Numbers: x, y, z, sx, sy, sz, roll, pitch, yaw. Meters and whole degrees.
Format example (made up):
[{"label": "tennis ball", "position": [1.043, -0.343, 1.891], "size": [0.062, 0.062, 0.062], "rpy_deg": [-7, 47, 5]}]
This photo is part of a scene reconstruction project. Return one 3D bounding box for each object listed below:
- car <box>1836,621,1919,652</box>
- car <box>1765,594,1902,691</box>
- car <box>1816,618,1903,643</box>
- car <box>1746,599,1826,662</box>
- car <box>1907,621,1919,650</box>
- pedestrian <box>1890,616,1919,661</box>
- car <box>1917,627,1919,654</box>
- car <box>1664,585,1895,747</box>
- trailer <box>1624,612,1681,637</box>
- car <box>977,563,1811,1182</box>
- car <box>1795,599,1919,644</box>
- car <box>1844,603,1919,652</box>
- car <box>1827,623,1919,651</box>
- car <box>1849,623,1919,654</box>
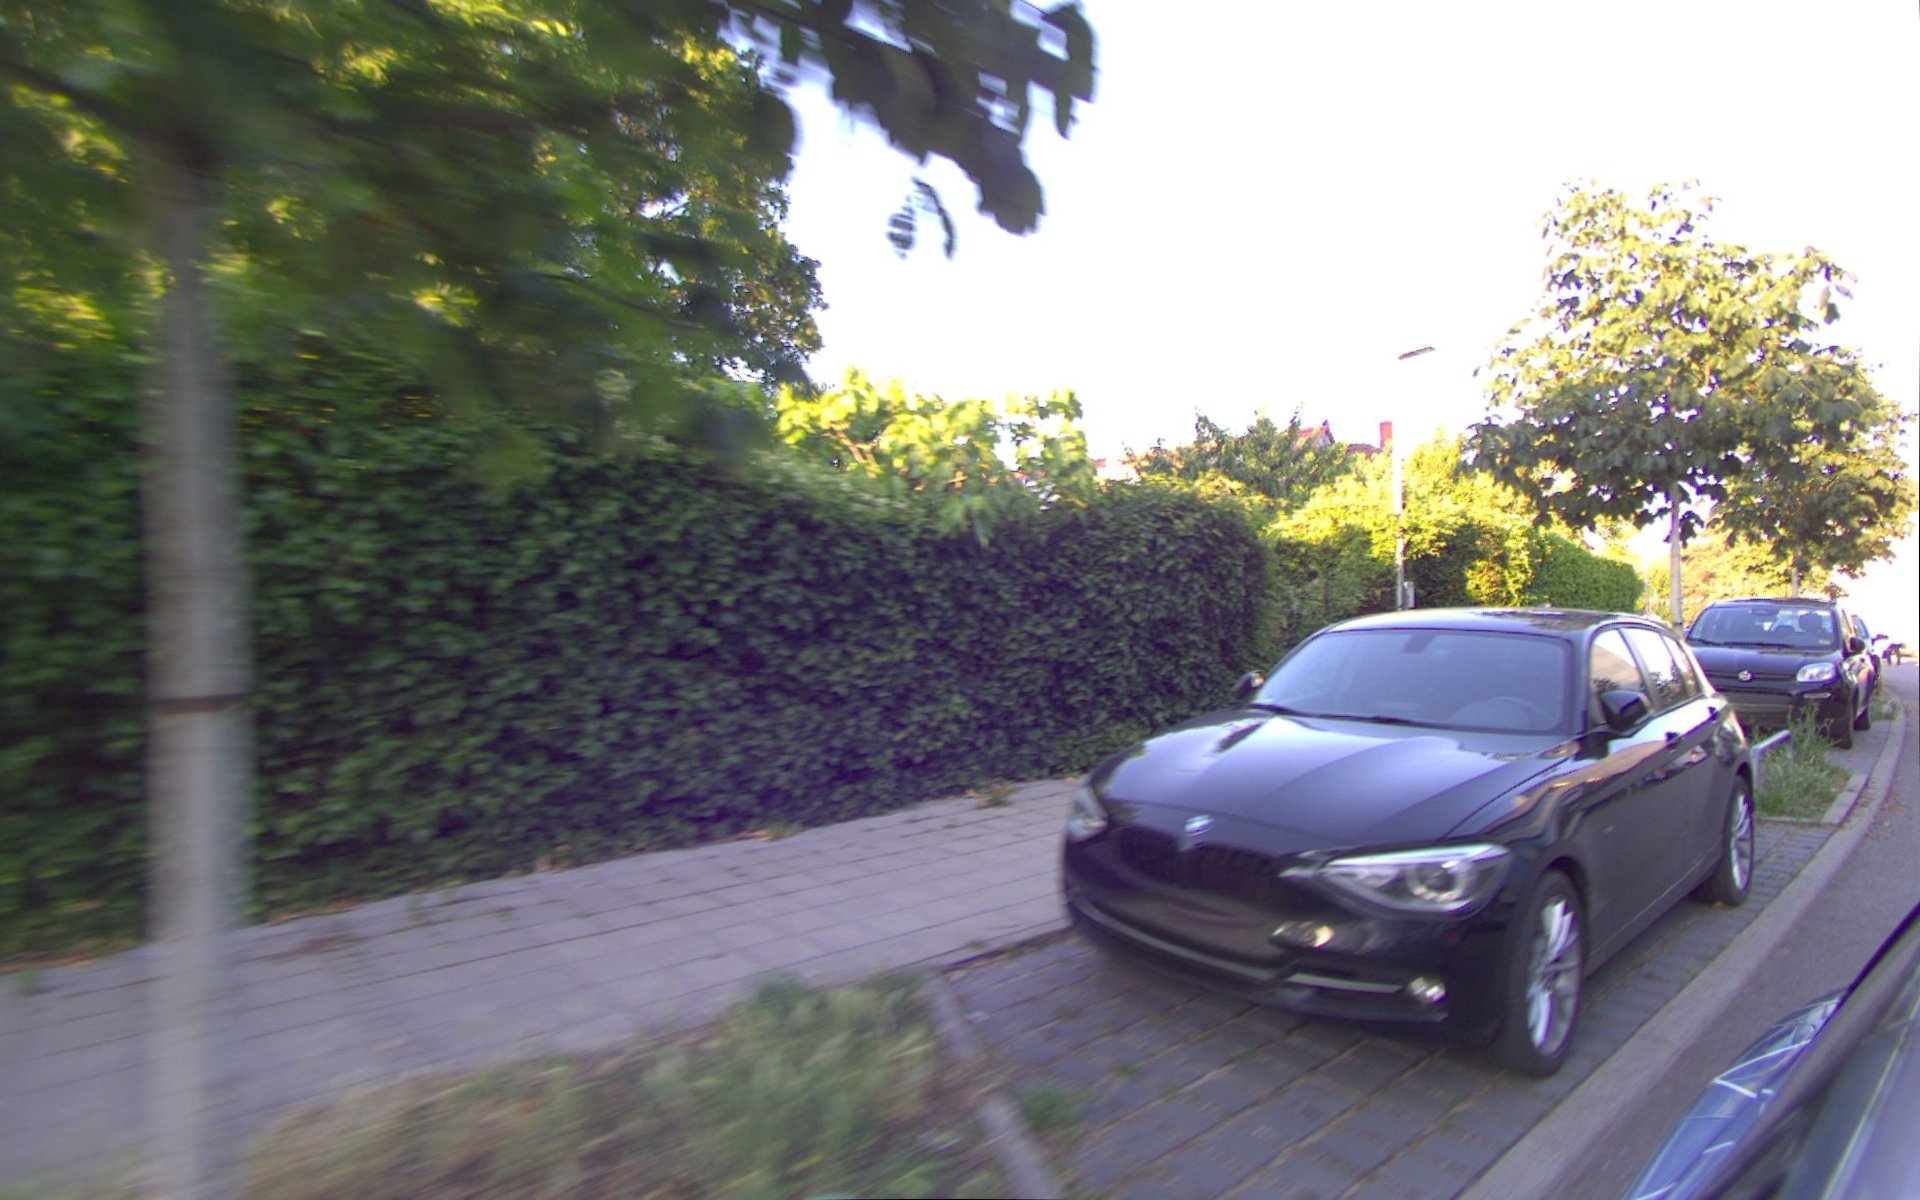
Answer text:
[{"label": "car", "position": [54.845, 2.164, 59.894], "size": [4.097, 1.611, 1.732], "rpy_deg": [-4, -3, 27]}, {"label": "car", "position": [16.150, 0.758, 18.632], "size": [1.710, 1.570, 4.476], "rpy_deg": [-2, -3, 43]}, {"label": "car", "position": [59.396, 2.027, 66.897], "size": [3.897, 1.527, 1.773], "rpy_deg": [-2, -2, 26]}, {"label": "car", "position": [29.888, 1.101, 36.762], "size": [2.060, 2.122, 4.804], "rpy_deg": [-1, -2, 38]}, {"label": "car", "position": [52.330, 1.823, 52.962], "size": [3.603, 1.539, 1.689], "rpy_deg": [-3, -3, 27]}, {"label": "pedestrian", "position": [39.537, 1.603, 42.073], "size": [0.884, 1.874, 0.856], "rpy_deg": [0, -3, -2]}, {"label": "car", "position": [50.927, 2.014, 50.825], "size": [3.700, 1.385, 1.689], "rpy_deg": [-3, -3, 27]}, {"label": "car", "position": [9.269, 0.643, 11.367], "size": [3.438, 1.529, 1.578], "rpy_deg": [1, -1, -44]}, {"label": "trailer", "position": [75.828, 2.667, 110.909], "size": [4.759, 2.464, 2.114], "rpy_deg": [-3, -2, 27]}, {"label": "car", "position": [2.183, 0.690, 4.483], "size": [4.117, 1.529, 1.696], "rpy_deg": [0, -1, -39]}, {"label": "car", "position": [61.155, 1.506, 69.149], "size": [5.778, 2.749, 2.034], "rpy_deg": [-4, -4, 23]}, {"label": "car", "position": [53.335, 1.465, 56.184], "size": [5.855, 2.567, 2.386], "rpy_deg": [-4, -3, 30]}, {"label": "car", "position": [56.174, 2.301, 62.315], "size": [3.909, 1.611, 1.727], "rpy_deg": [-3, -3, 34]}, {"label": "car", "position": [54.101, 2.187, 58.199], "size": [4.100, 1.611, 1.731], "rpy_deg": [-4, -3, 28]}]
